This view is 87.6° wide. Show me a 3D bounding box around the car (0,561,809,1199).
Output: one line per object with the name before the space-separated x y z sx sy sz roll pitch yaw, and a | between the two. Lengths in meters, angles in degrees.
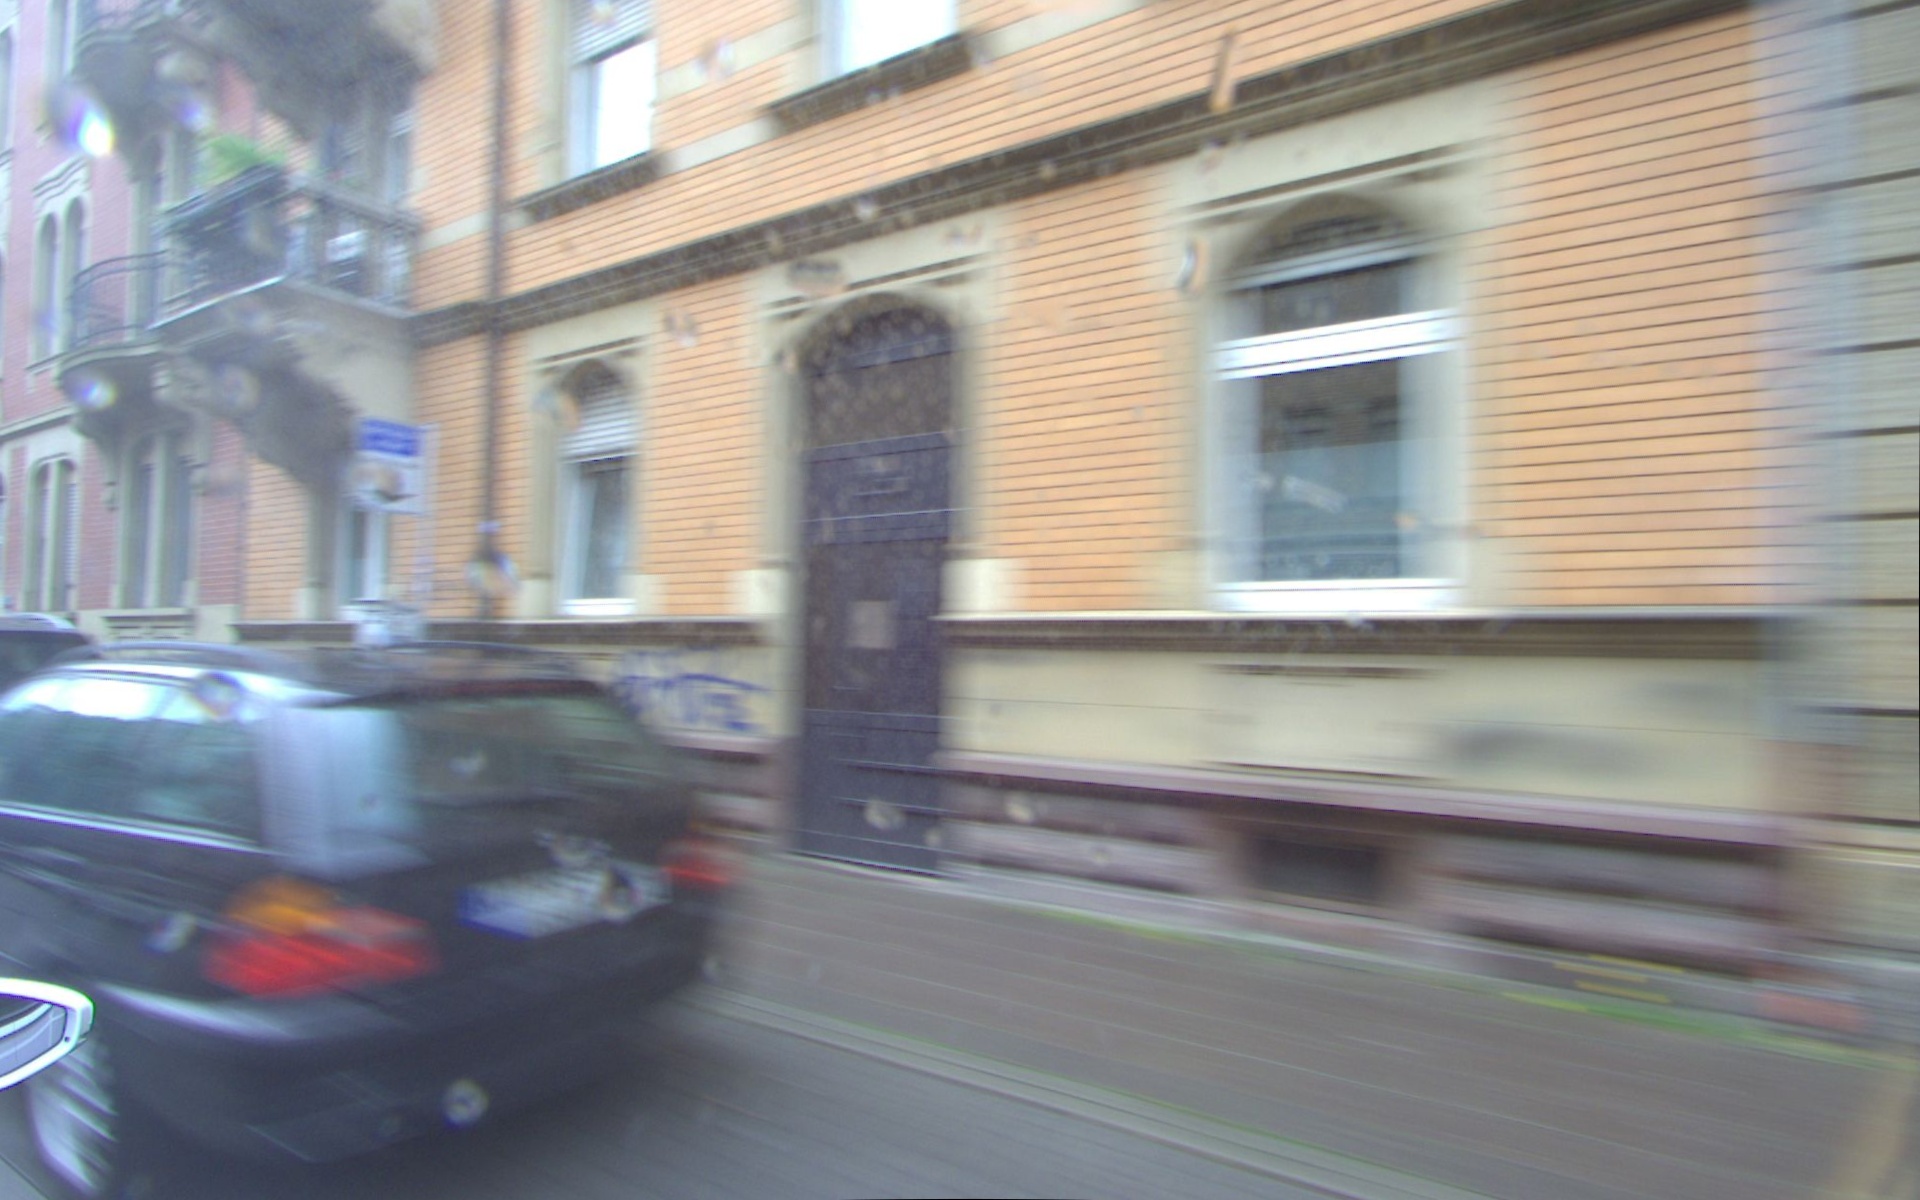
car | -2.845 0.814 3.913 4.422 1.484 1.784 -3 -4 33

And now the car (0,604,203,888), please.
car | -7.127 0.837 6.783 4.284 1.581 1.868 -1 -2 33
